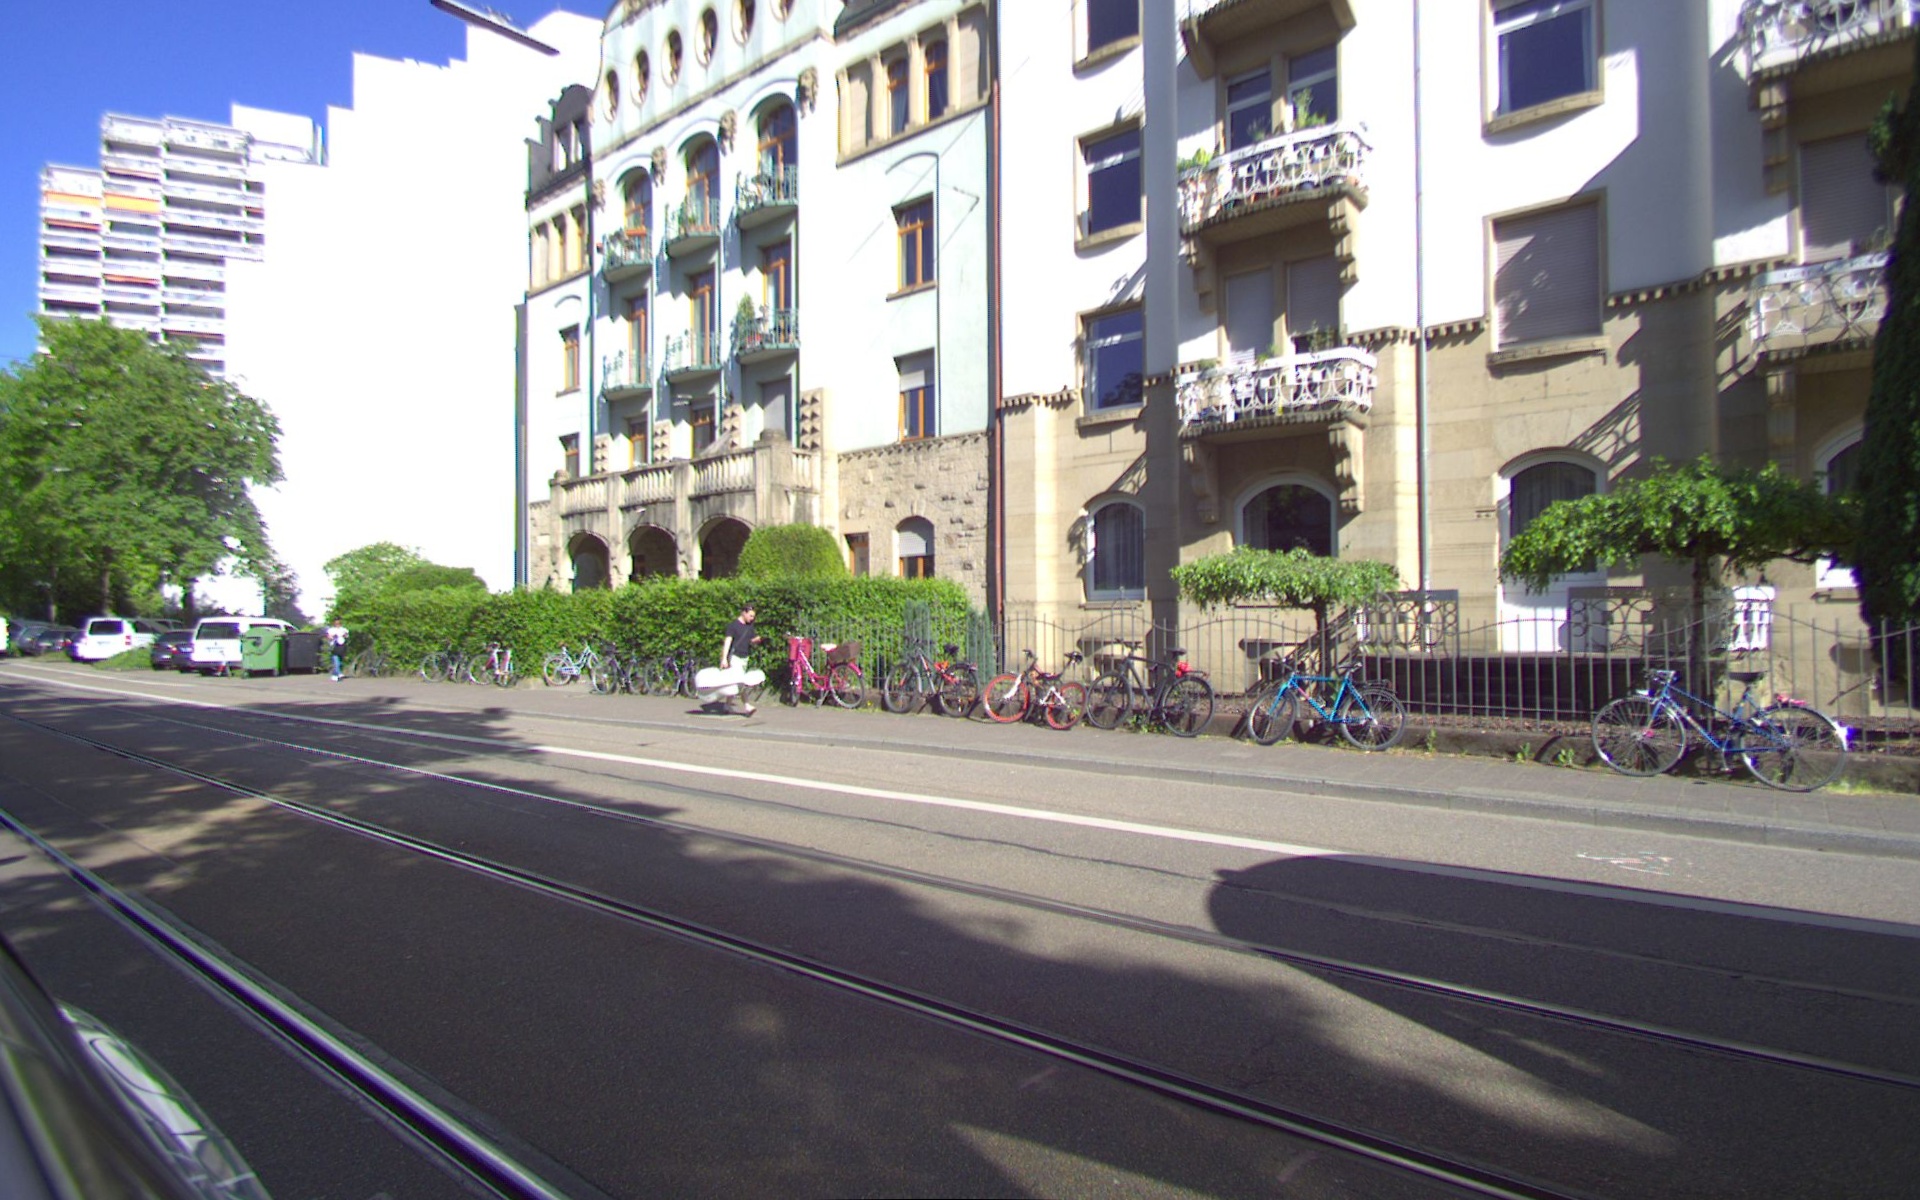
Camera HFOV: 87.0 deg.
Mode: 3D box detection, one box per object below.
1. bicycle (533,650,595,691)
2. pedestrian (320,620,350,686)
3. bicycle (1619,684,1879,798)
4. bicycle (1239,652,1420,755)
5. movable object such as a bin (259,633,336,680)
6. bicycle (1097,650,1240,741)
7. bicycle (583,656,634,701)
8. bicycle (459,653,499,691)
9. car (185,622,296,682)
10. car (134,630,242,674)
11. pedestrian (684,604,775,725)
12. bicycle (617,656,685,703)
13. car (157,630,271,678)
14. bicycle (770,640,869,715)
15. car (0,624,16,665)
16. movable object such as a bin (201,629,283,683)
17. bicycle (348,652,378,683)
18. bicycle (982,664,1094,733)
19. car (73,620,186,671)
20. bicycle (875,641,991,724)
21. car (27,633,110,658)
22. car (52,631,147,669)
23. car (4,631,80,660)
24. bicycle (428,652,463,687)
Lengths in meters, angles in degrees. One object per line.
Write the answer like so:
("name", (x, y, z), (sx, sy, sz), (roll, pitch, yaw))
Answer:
("bicycle", (-8.573, 1.520, 21.942), (0.297, 0.799, 1.246), (-1, 0, 41))
("pedestrian", (-15.945, 1.340, 25.809), (0.659, 1.641, 0.469), (-1, 0, 41))
("bicycle", (6.412, 1.119, 8.304), (1.651, 0.767, 0.314), (-1, 0, 41))
("bicycle", (3.830, 1.046, 10.603), (1.748, 0.949, 0.400), (-1, 0, 41))
("movable object such as a bin", (-20.461, 1.717, 31.260), (2.095, 1.326, 1.482), (-1, 0, 41))
("bicycle", (2.399, 1.079, 11.781), (1.648, 0.949, 0.400), (-1, 0, 41))
("bicycle", (-6.690, 1.483, 19.254), (1.263, 0.767, 0.335), (-1, 0, 41))
("bicycle", (-10.610, 1.582, 22.322), (1.263, 0.767, 0.314), (-1, 0, 41))
("car", (-22.829, 1.651, 32.229), (1.438, 1.787, 3.189), (-1, -3, -5))
("car", (-27.688, 1.830, 36.350), (1.451, 1.446, 2.734), (-1, 0, 24))
("pedestrian", (-3.383, 0.912, 14.870), (0.870, 1.640, 0.858), (-1, 4, 41))
("bicycle", (-5.581, 1.417, 18.239), (1.581, 0.767, 0.400), (-1, 0, 41))
("car", (-25.132, 1.796, 34.161), (1.451, 1.446, 2.734), (-1, 0, 24))
("bicycle", (-2.162, 1.155, 15.439), (1.815, 1.031, 0.400), (-1, 0, 41))
("car", (-47.247, 2.157, 48.984), (1.968, 1.918, 4.008), (-1, 0, -39))
("movable object such as a bin", (-20.814, 1.589, 29.337), (2.095, 1.443, 1.493), (-1, 0, 41))
("bicycle", (-15.644, 1.759, 26.493), (1.263, 0.767, 0.293), (-1, 0, 41))
("bicycle", (0.969, 1.226, 12.856), (1.542, 0.767, 0.314), (-1, 0, 41))
("car", (-33.299, 1.793, 40.694), (1.894, 1.885, 3.447), (-1, 0, -4))
("bicycle", (-0.397, 1.109, 14.005), (1.815, 1.031, 0.400), (-1, 0, 41))
("car", (-42.927, 2.177, 48.768), (1.220, 1.097, 2.734), (-1, 0, 24))
("car", (-36.169, 2.082, 42.590), (1.451, 1.446, 2.734), (-1, 0, 24))
("car", (-48.326, 2.374, 53.318), (1.220, 1.436, 2.734), (-1, 0, 24))
("bicycle", (-11.955, 1.607, 23.504), (1.263, 0.767, 0.293), (-1, 0, 41))
